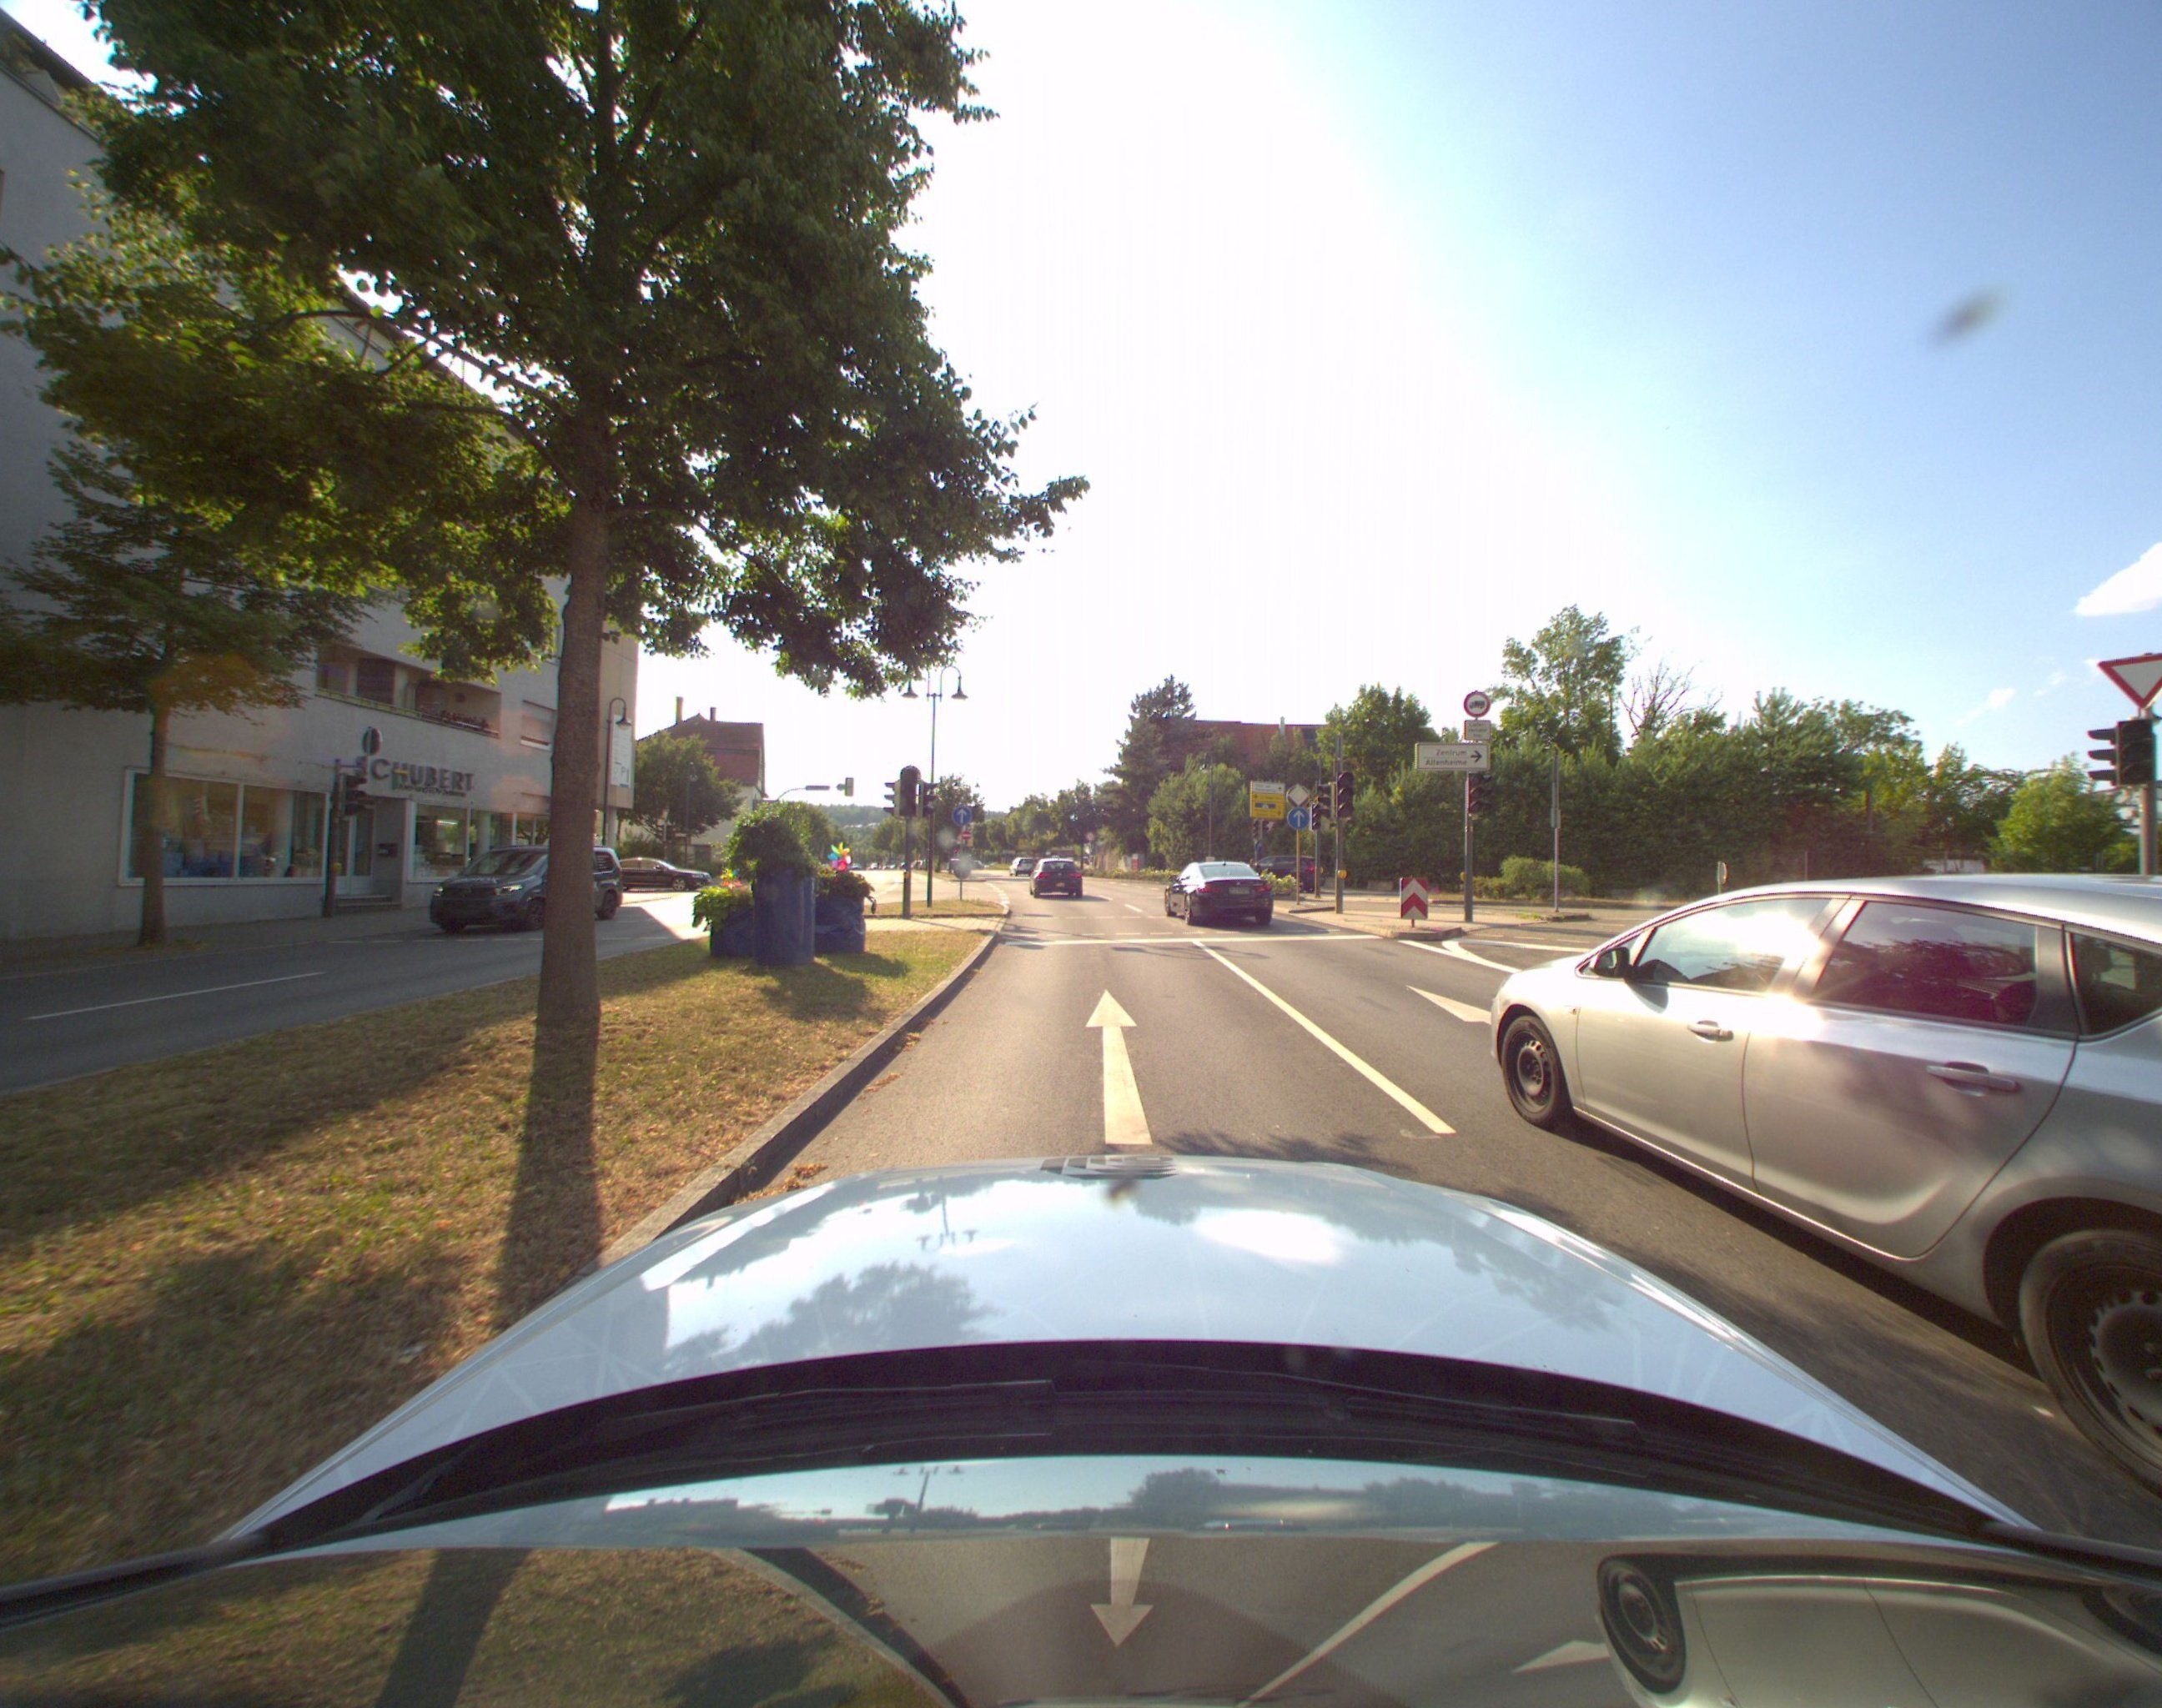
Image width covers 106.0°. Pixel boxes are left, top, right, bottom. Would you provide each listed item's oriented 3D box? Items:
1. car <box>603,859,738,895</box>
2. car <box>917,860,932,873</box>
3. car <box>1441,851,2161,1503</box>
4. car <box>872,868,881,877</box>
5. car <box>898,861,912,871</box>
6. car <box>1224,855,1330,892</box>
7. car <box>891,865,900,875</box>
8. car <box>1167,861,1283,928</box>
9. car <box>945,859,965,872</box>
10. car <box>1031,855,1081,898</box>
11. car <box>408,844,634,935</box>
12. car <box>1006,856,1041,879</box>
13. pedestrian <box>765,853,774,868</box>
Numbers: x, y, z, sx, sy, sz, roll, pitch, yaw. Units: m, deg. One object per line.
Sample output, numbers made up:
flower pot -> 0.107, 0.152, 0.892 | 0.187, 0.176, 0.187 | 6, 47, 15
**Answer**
car -> -17.654, 0.959, 35.247 | 4.856, 1.437, 1.912 | -1, -1, -8
car -> -22.399, 1.806, 116.787 | 1.760, 1.769, 3.948 | 0, -1, -16
car -> 3.336, 0.739, 3.449 | 1.715, 1.490, 4.305 | 0, 0, 0
car -> -40.317, 3.631, 160.835 | 1.733, 1.679, 3.980 | 0, -1, -15
car -> -34.304, 2.303, 158.544 | 2.222, 1.769, 4.429 | 0, -1, -16
car -> 8.720, 0.853, 36.405 | 4.216, 1.567, 1.804 | 0, 0, 35
car -> -39.975, 3.432, 175.905 | 1.774, 2.014, 3.984 | 0, 0, -12
car -> 3.190, 0.853, 18.944 | 1.914, 1.364, 4.351 | 0, -1, 0
car -> -17.651, 1.527, 113.845 | 2.222, 1.769, 4.429 | 0, -1, -16
car -> -0.960, 0.820, 30.682 | 1.717, 1.490, 4.349 | 0, -1, -2
car -> -12.187, 0.710, 18.221 | 1.848, 1.736, 4.917 | -1, -1, -3
car -> -4.653, 1.095, 65.265 | 1.929, 1.769, 4.429 | 0, -1, -16
pedestrian -> -29.203, 0.597, 76.357 | 0.814, 1.394, 0.703 | 0, -1, -17
